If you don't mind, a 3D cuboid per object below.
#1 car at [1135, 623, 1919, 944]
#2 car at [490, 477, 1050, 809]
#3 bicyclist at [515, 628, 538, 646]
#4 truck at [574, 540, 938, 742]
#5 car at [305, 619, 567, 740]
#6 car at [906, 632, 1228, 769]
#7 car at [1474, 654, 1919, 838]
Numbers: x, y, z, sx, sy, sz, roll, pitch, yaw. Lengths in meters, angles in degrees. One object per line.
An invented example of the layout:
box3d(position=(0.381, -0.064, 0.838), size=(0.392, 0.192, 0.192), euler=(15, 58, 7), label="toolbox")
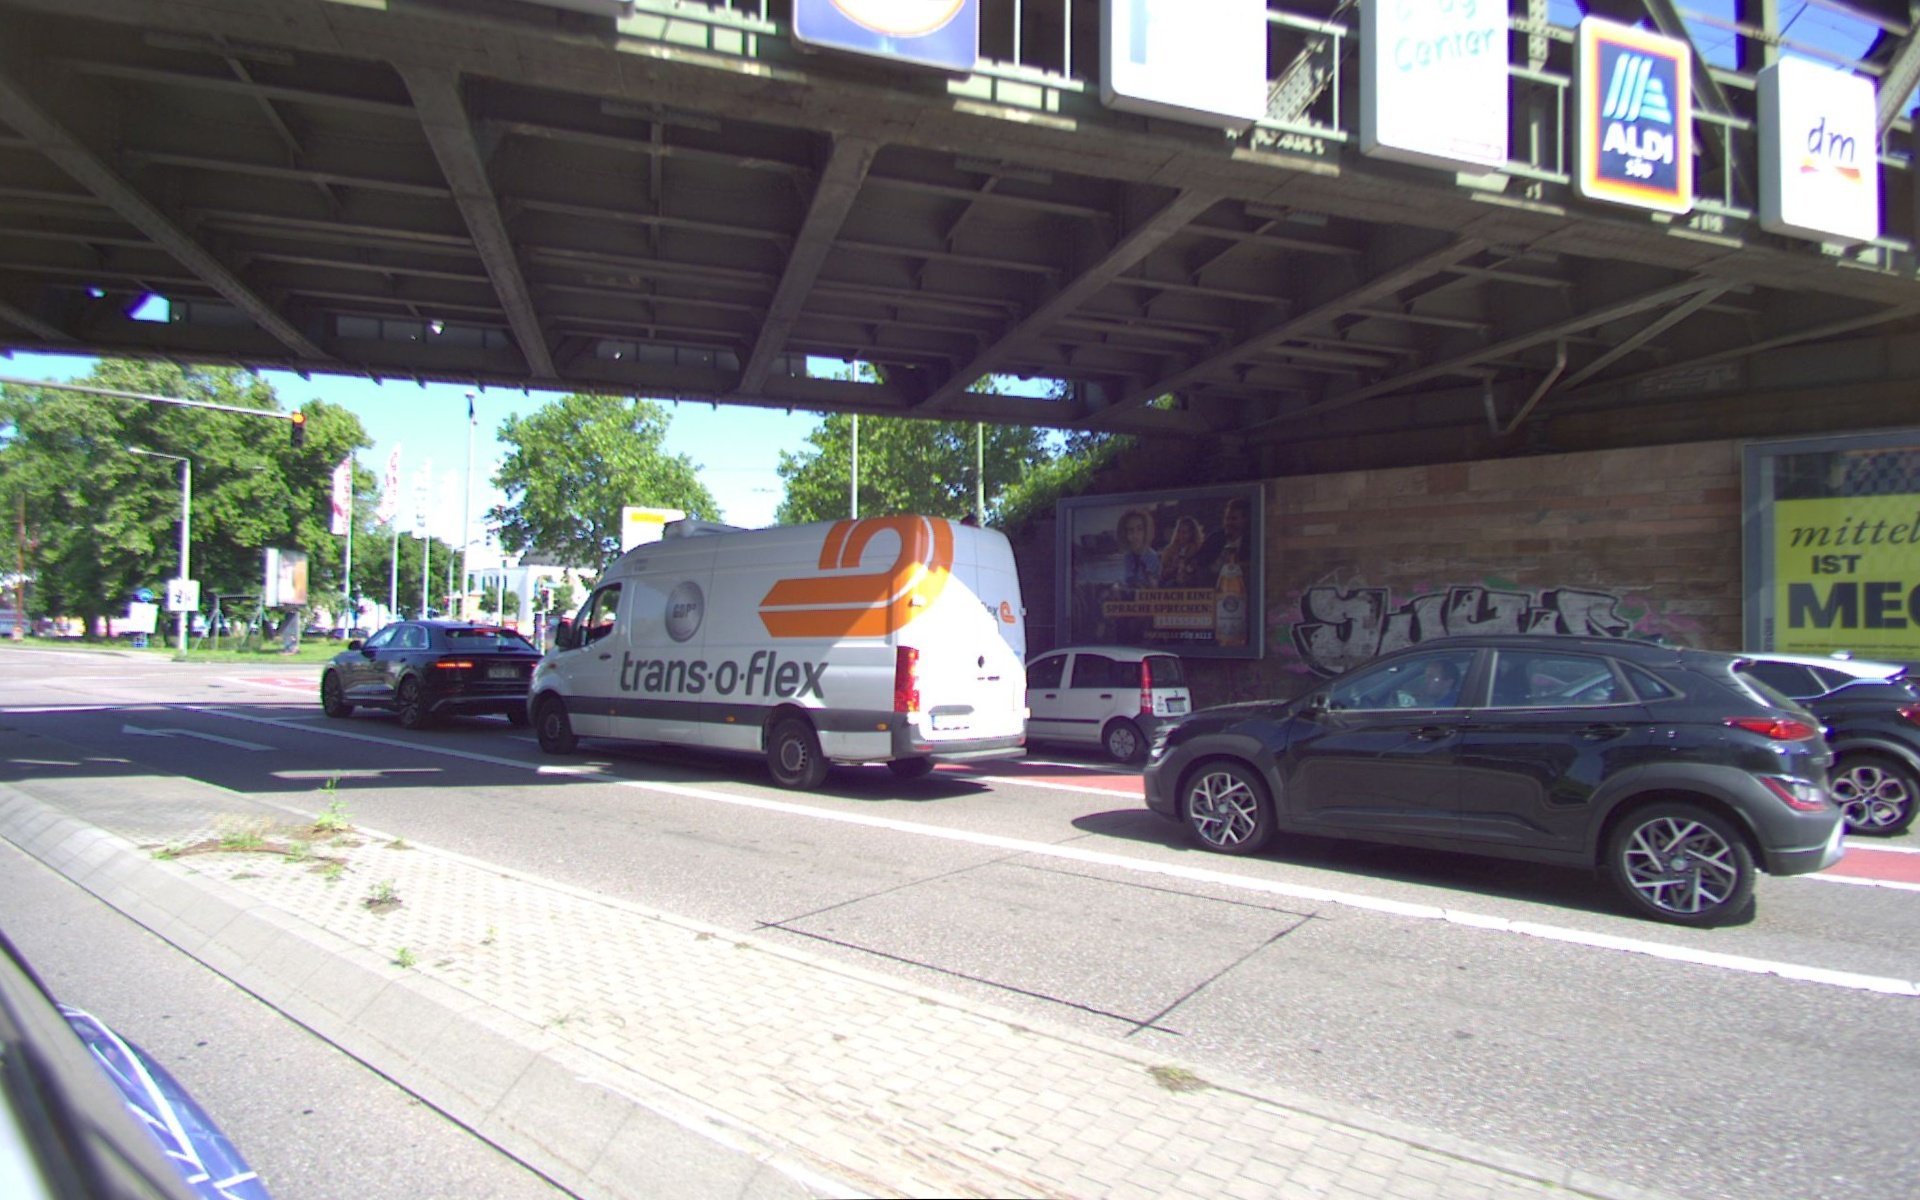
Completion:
box3d(position=(3.441, 0.993, 6.771), size=(4.172, 1.506, 1.751), euler=(-3, -5, 38), label="car")
box3d(position=(-2.475, 0.484, 11.467), size=(6.924, 2.827, 1.975), euler=(-1, -5, 36), label="car")
box3d(position=(-26.304, 2.251, 61.433), size=(0.950, 1.092, 0.881), euler=(-1, -3, 37), label="bicyclist")
box3d(position=(-3.923, 0.718, 18.580), size=(7.053, 3.112, 2.321), euler=(-1, -3, 35), label="truck")
box3d(position=(-8.681, 1.200, 16.587), size=(4.944, 1.694, 1.974), euler=(-1, -3, 39), label="car")
box3d(position=(1.463, 1.385, 14.715), size=(4.282, 1.703, 1.965), euler=(-3, -5, 38), label="car")
box3d(position=(7.449, 1.293, 9.741), size=(4.172, 1.506, 1.751), euler=(-3, -5, 38), label="car")
